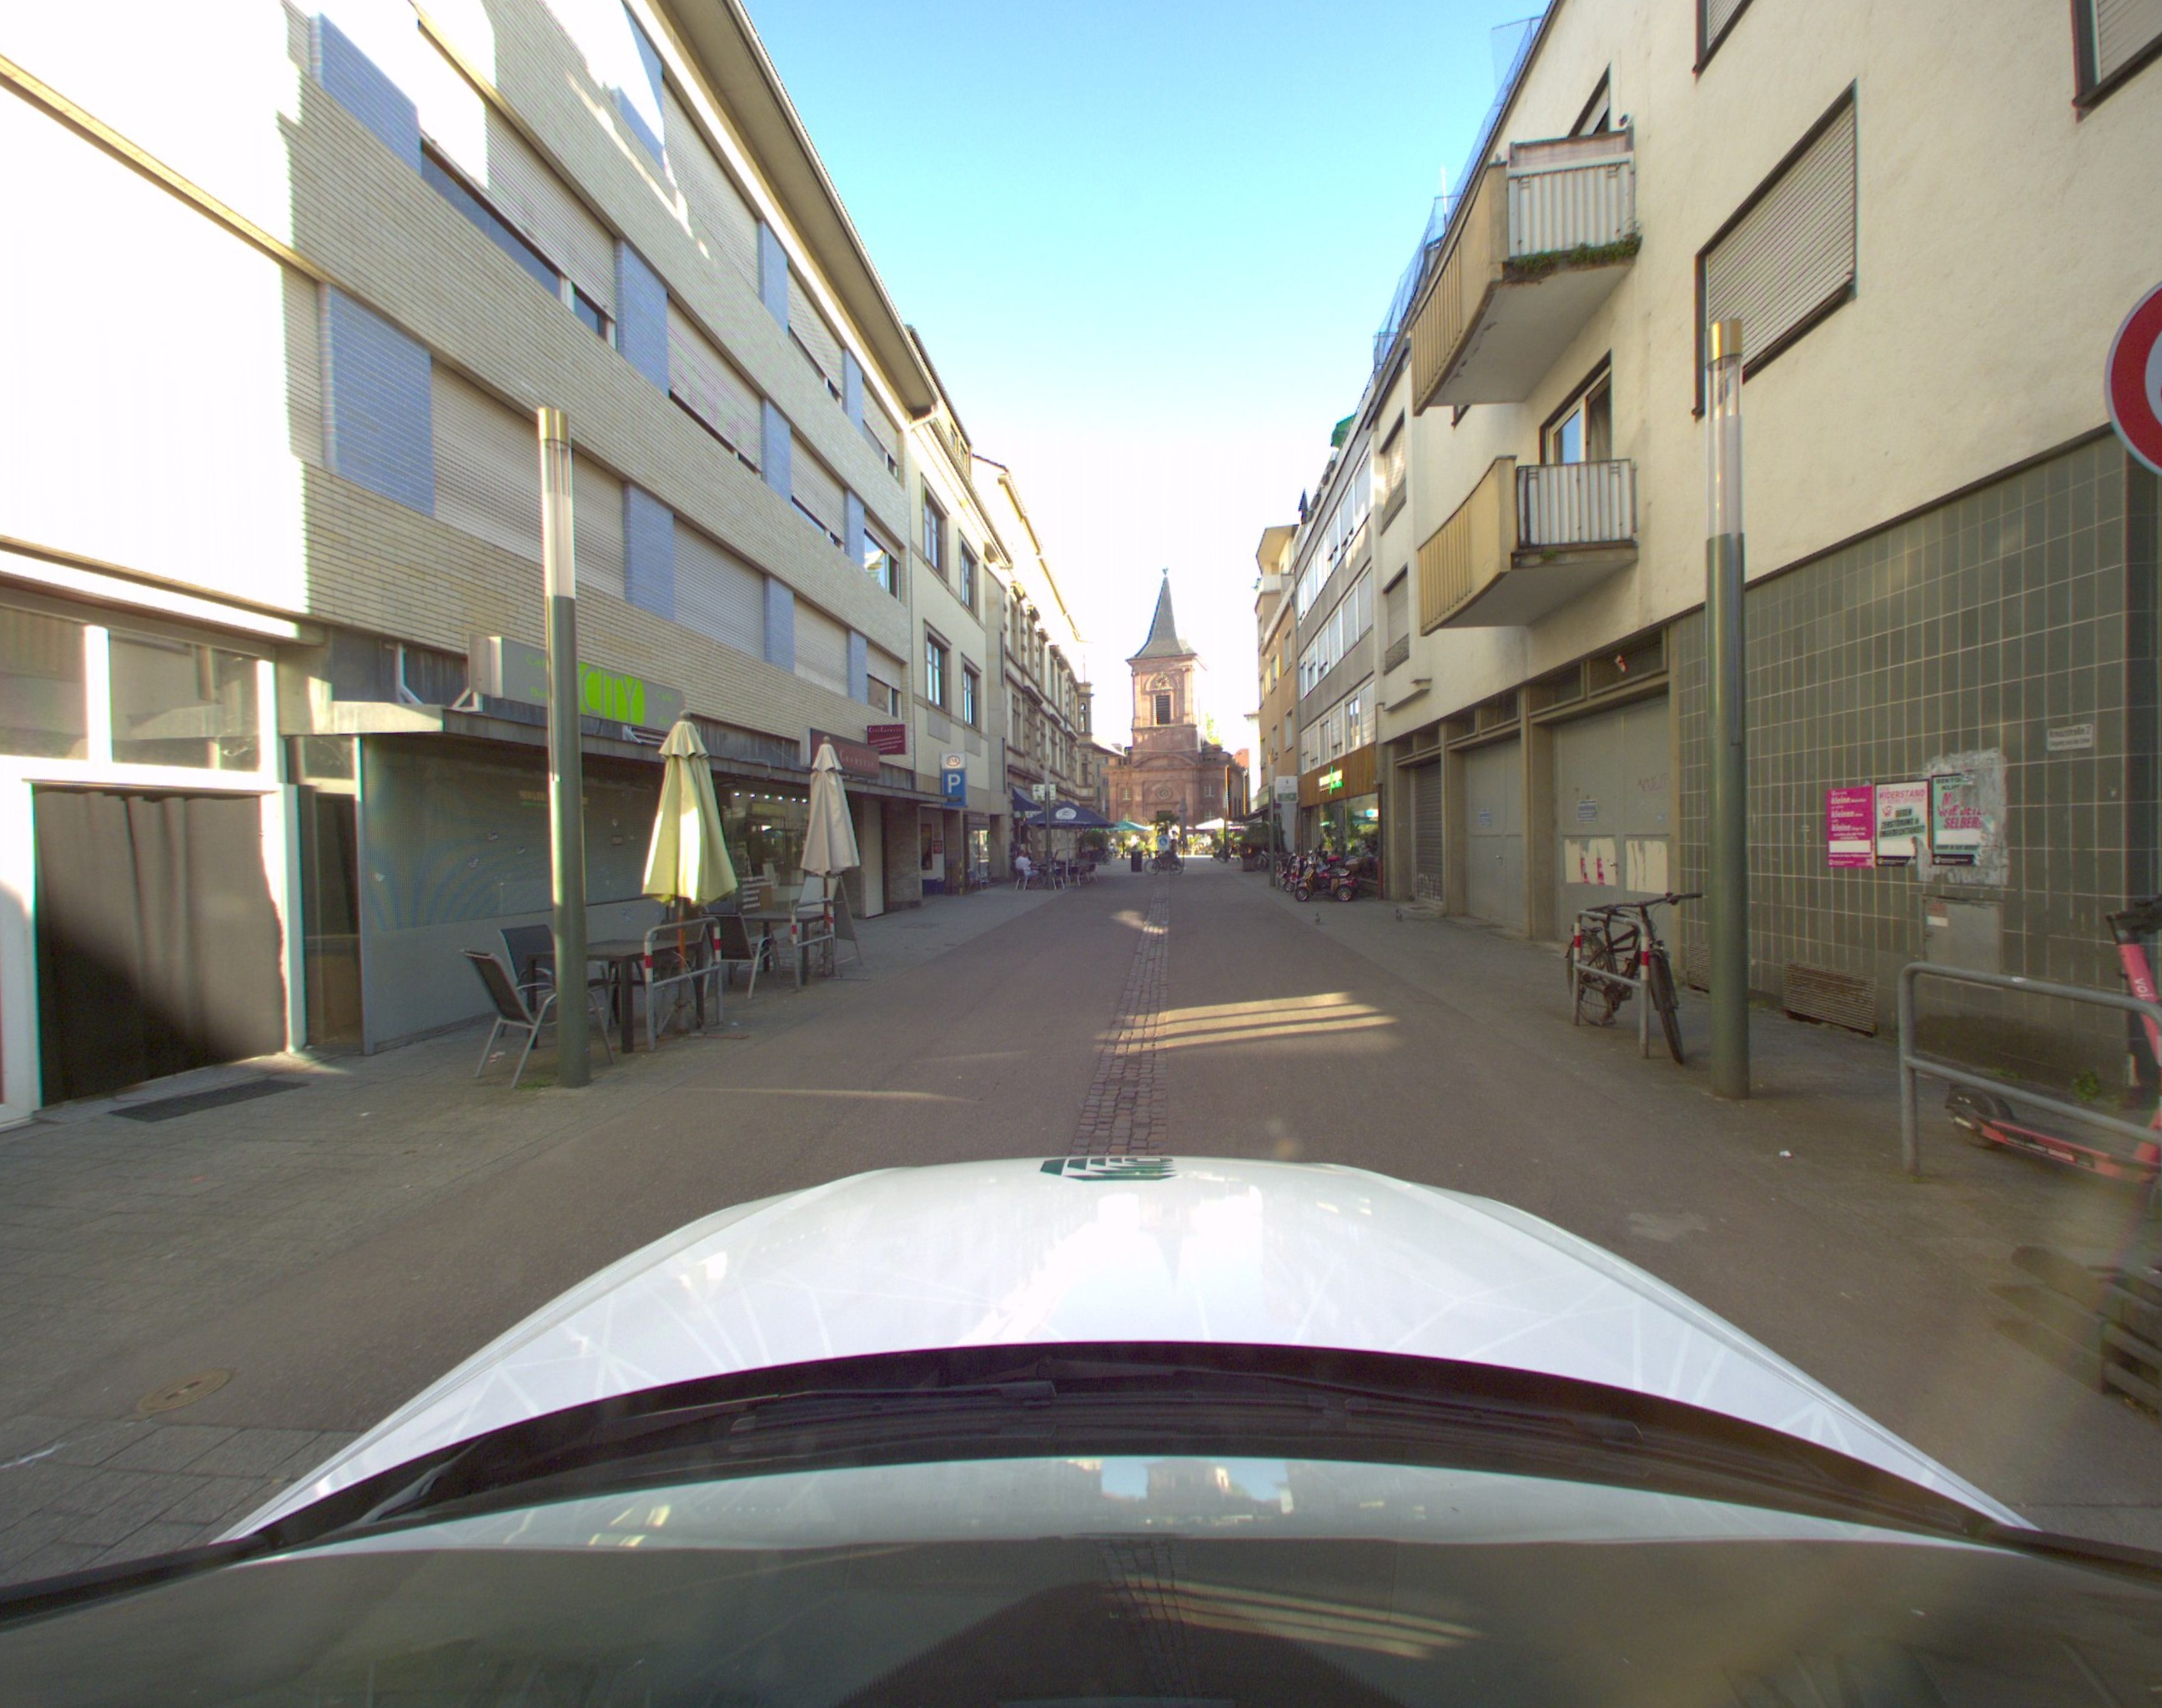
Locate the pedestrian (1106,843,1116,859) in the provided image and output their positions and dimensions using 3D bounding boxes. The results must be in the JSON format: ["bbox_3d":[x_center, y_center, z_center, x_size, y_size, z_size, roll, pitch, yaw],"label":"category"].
[{"bbox_3d":[2.348,-0.253,64.001,0.696,1.218,0.722,-1,1,12],"label":"pedestrian"}]

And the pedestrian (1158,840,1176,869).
[{"bbox_3d":[4.415,0.030,41.670,0.879,1.464,0.732,-1,1,6],"label":"pedestrian"}]

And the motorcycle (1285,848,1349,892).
[{"bbox_3d":[6.606,0.445,22.812,1.610,1.175,0.483,-2,0,24],"label":"motorcycle"}]

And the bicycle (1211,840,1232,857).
[{"bbox_3d":[10.761,-0.430,62.456,1.593,1.308,0.363,-2,1,-23],"label":"bicycle"}]

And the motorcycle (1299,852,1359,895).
[{"bbox_3d":[6.568,0.520,21.573,1.470,1.075,0.414,-2,0,24],"label":"motorcycle"}]

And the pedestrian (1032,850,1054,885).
[{"bbox_3d":[-1.408,0.494,30.038,0.763,1.233,0.831,-1,1,-2],"label":"pedestrian"}]

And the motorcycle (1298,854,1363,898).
[{"bbox_3d":[6.302,0.558,20.561,1.503,1.075,0.414,-2,0,24],"label":"motorcycle"}]

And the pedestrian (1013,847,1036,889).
[{"bbox_3d":[-1.908,0.452,27.350,0.707,1.368,0.718,-1,1,-6],"label":"pedestrian"}]

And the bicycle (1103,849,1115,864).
[{"bbox_3d":[1.725,0.167,49.747,0.454,0.850,2.152,-1,1,10],"label":"bicycle"}]

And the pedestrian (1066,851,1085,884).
[{"bbox_3d":[-0.205,0.493,30.668,0.690,1.215,0.583,-1,1,-2],"label":"pedestrian"}]

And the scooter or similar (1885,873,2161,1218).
[{"bbox_3d":[4.222,0.734,3.516,0.306,1.252,1.240,-1,0,3],"label":"scooter or similar"}]

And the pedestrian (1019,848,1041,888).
[{"bbox_3d":[-1.787,0.469,28.429,0.716,1.368,0.709,-1,1,-6],"label":"pedestrian"}]

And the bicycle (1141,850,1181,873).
[{"bbox_3d":[3.678,0.358,37.558,1.816,1.004,0.381,-1,1,2],"label":"bicycle"}]

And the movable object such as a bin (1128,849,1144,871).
[{"bbox_3d":[2.741,0.318,40.575,0.718,1.074,0.375,-1,1,4],"label":"movable object such as a bin"}]

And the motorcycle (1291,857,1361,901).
[{"bbox_3d":[5.974,0.620,19.872,1.550,1.041,0.375,-2,0,24],"label":"motorcycle"}]

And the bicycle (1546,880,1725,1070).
[{"bbox_3d":[3.977,0.785,5.986,0.443,1.140,1.715,-1,0,11],"label":"bicycle"}]

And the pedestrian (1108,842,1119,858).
[{"bbox_3d":[2.606,-0.341,65.415,0.696,1.218,0.722,-1,1,12],"label":"pedestrian"}]

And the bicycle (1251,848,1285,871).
[{"bbox_3d":[8.321,0.252,36.310,1.453,1.004,0.575,-1,1,13],"label":"bicycle"}]

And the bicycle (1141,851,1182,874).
[{"bbox_3d":[3.658,0.375,37.158,1.816,1.004,0.381,-1,1,2],"label":"bicycle"}]

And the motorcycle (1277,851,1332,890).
[{"bbox_3d":[6.480,0.481,23.648,1.470,1.075,0.414,-2,0,24],"label":"motorcycle"}]

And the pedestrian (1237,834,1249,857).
[{"bbox_3d":[11.426,-0.605,57.495,0.779,1.555,0.537,-1,1,10],"label":"pedestrian"}]

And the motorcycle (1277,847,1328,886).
[{"bbox_3d":[6.927,0.382,25.512,1.471,1.181,0.414,-2,0,21],"label":"motorcycle"}]

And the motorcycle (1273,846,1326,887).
[{"bbox_3d":[6.581,0.376,24.520,1.471,1.181,0.414,-2,0,21],"label":"motorcycle"}]
